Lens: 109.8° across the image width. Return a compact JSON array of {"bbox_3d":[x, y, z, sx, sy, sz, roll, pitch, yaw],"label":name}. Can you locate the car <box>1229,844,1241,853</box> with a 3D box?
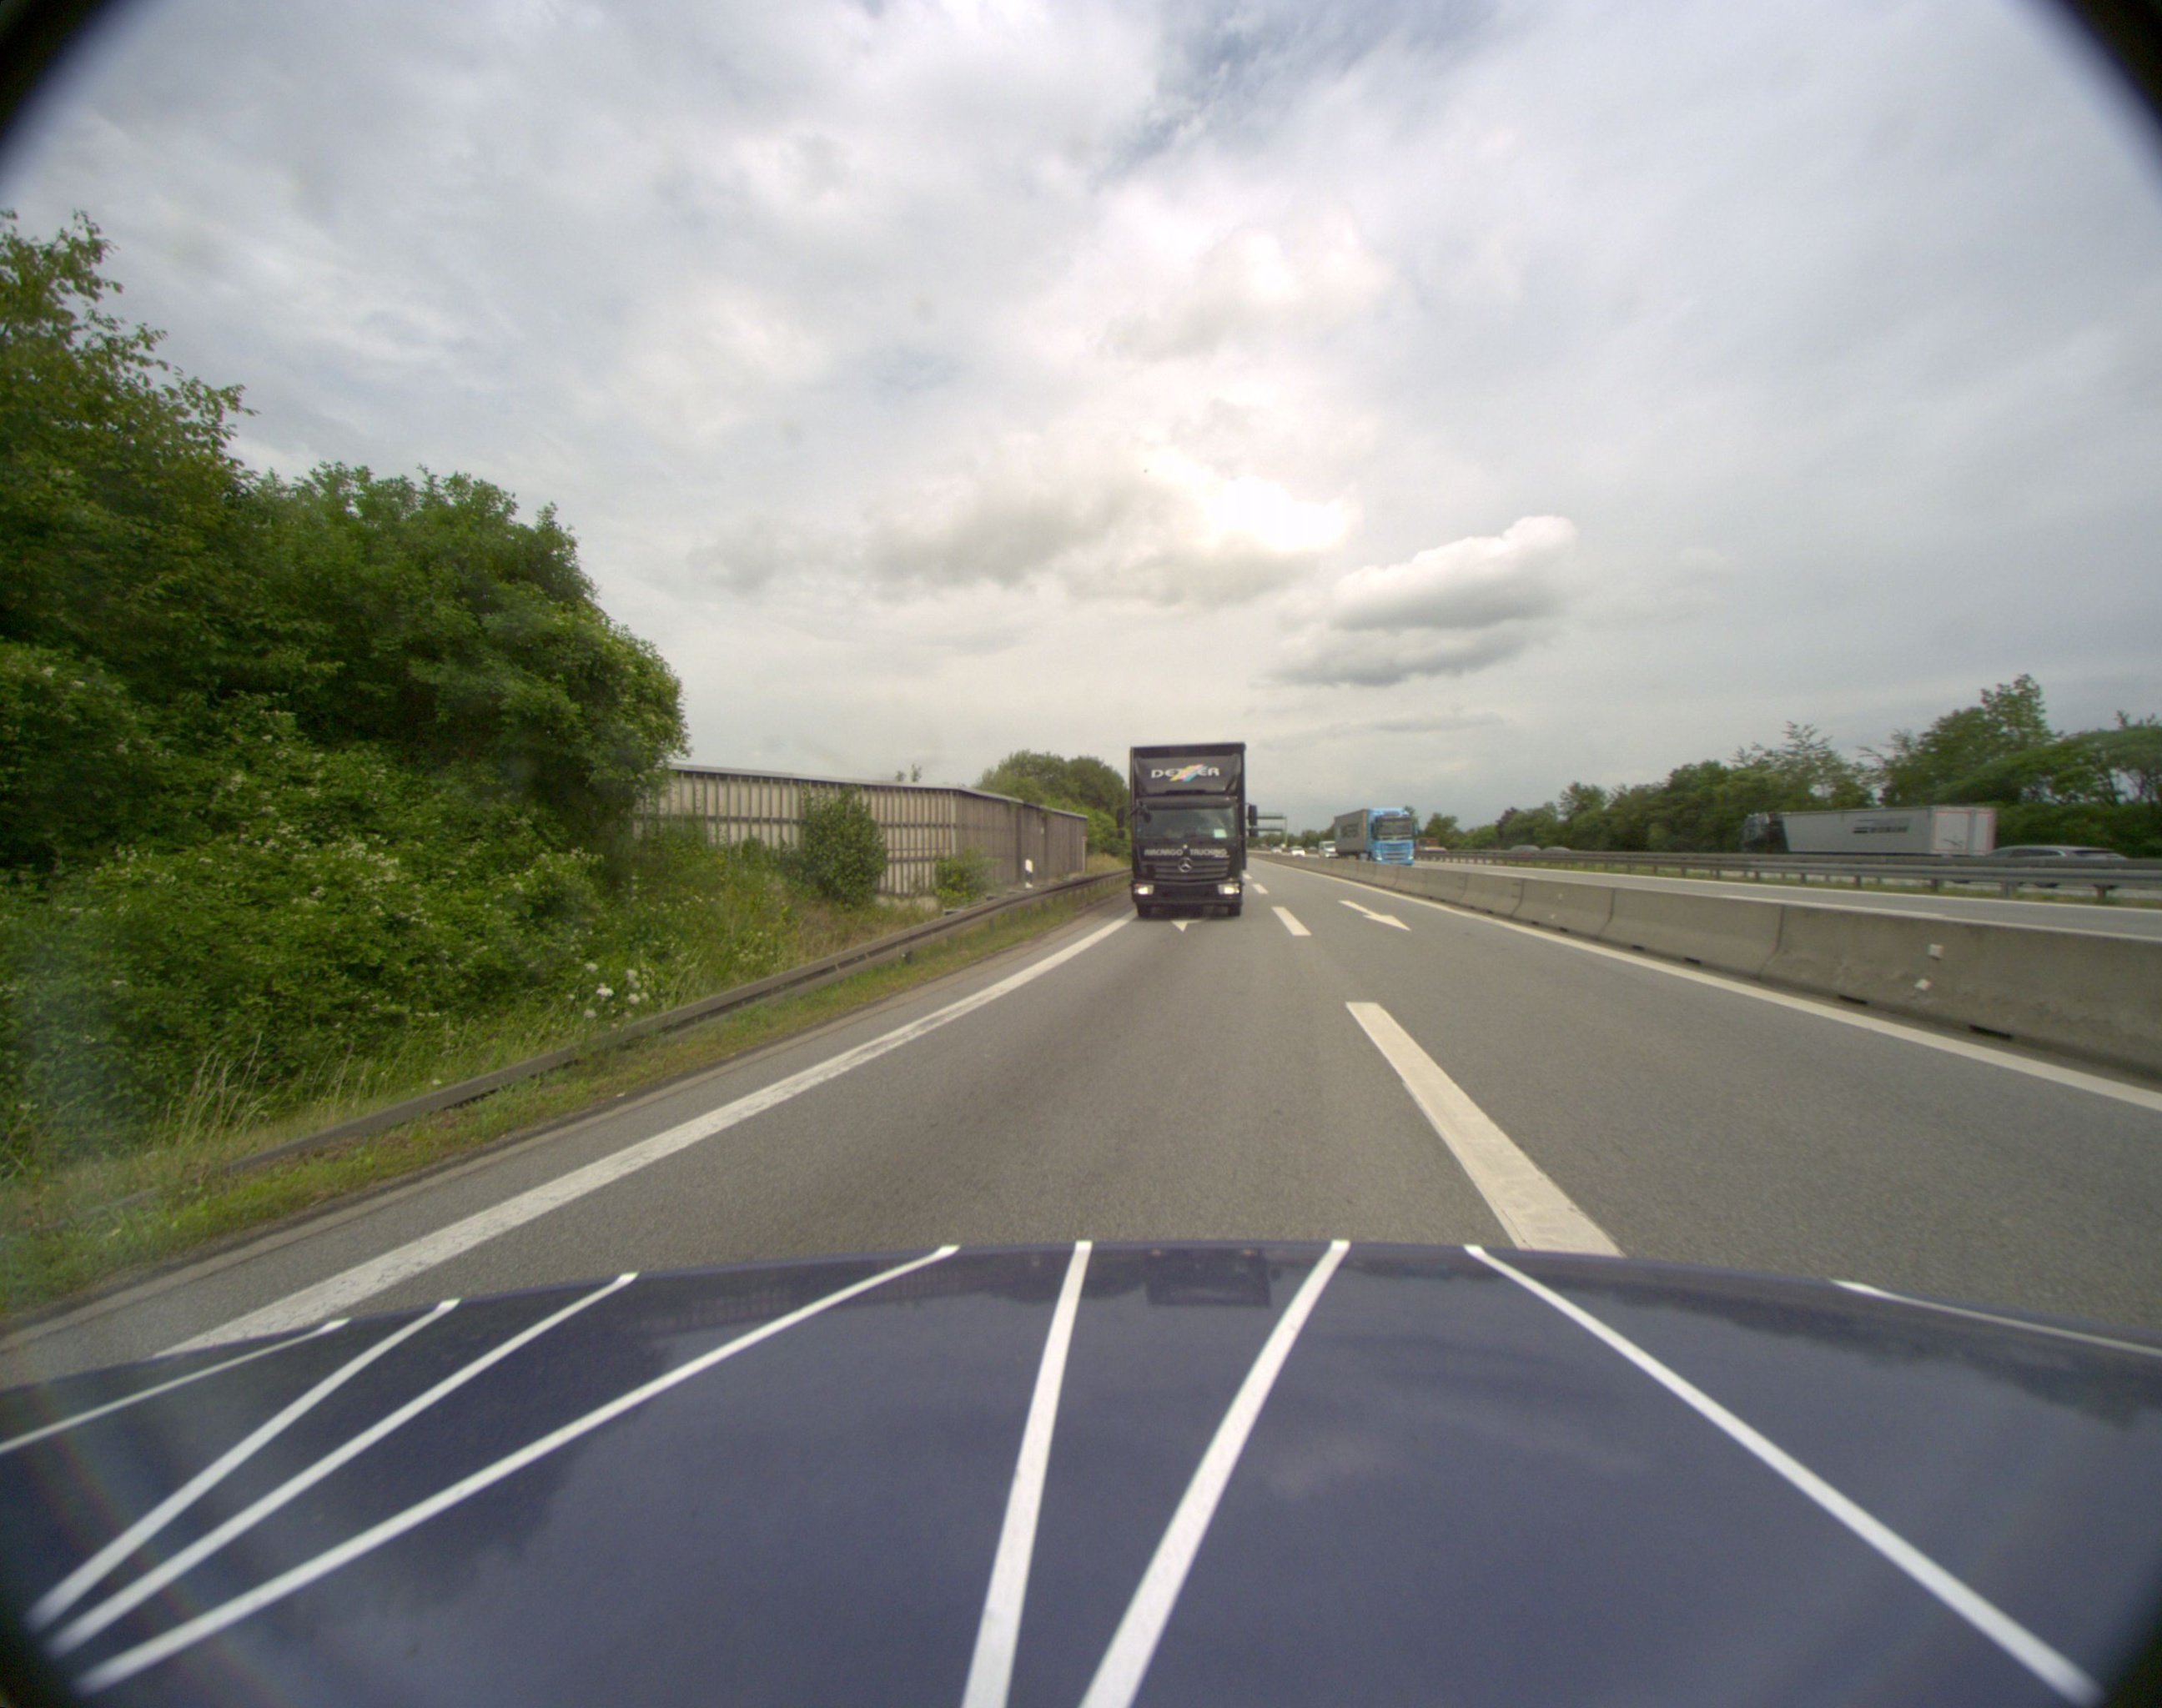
[{"bbox_3d":[26.533,-0.990,131.191,1.864,1.434,4.002,-1,1,9],"label":"car"}]

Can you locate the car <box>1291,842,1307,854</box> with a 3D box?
[{"bbox_3d":[28.970,-0.819,101.038,1.683,1.476,3.777,-1,0,10],"label":"car"}]

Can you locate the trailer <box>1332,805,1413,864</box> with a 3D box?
[{"bbox_3d":[21.833,-1.466,57.765,3.242,3.902,12.386,-2,1,9],"label":"trailer"}]

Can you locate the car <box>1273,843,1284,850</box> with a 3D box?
[{"bbox_3d":[39.706,-1.476,152.646,1.755,1.361,4.207,-1,1,8],"label":"car"}]

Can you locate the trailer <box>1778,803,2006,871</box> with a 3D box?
[{"bbox_3d":[43.942,-0.889,41.901,3.203,3.250,9.829,-1,1,9],"label":"trailer"}]

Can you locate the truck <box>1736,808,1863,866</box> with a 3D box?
[{"bbox_3d":[44.811,-1.041,47.652,3.156,3.311,5.625,-1,1,8],"label":"truck"}]

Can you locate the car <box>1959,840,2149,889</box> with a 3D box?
[{"bbox_3d":[32.487,0.305,25.578,1.690,1.476,4.007,-1,1,10],"label":"car"}]

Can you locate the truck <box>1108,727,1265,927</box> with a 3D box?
[{"bbox_3d":[3.025,-0.576,20.308,3.022,3.932,10.347,-1,1,10],"label":"truck"}]

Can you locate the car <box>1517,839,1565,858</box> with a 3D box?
[{"bbox_3d":[34.027,-0.405,56.344,1.755,1.361,4.003,-1,1,11],"label":"car"}]

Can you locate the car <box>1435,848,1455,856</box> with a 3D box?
[{"bbox_3d":[57.075,-0.259,119.264,1.690,1.186,4.006,-1,1,9],"label":"car"}]

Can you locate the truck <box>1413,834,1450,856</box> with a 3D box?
[{"bbox_3d":[39.596,-1.065,85.951,2.280,2.356,6.204,-1,1,10],"label":"truck"}]

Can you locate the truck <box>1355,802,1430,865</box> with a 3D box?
[{"bbox_3d":[20.730,-1.348,51.051,3.252,3.889,6.614,-1,1,10],"label":"truck"}]

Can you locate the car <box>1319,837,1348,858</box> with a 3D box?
[{"bbox_3d":[25.497,-0.692,76.841,2.003,1.927,5.135,-2,1,9],"label":"car"}]
